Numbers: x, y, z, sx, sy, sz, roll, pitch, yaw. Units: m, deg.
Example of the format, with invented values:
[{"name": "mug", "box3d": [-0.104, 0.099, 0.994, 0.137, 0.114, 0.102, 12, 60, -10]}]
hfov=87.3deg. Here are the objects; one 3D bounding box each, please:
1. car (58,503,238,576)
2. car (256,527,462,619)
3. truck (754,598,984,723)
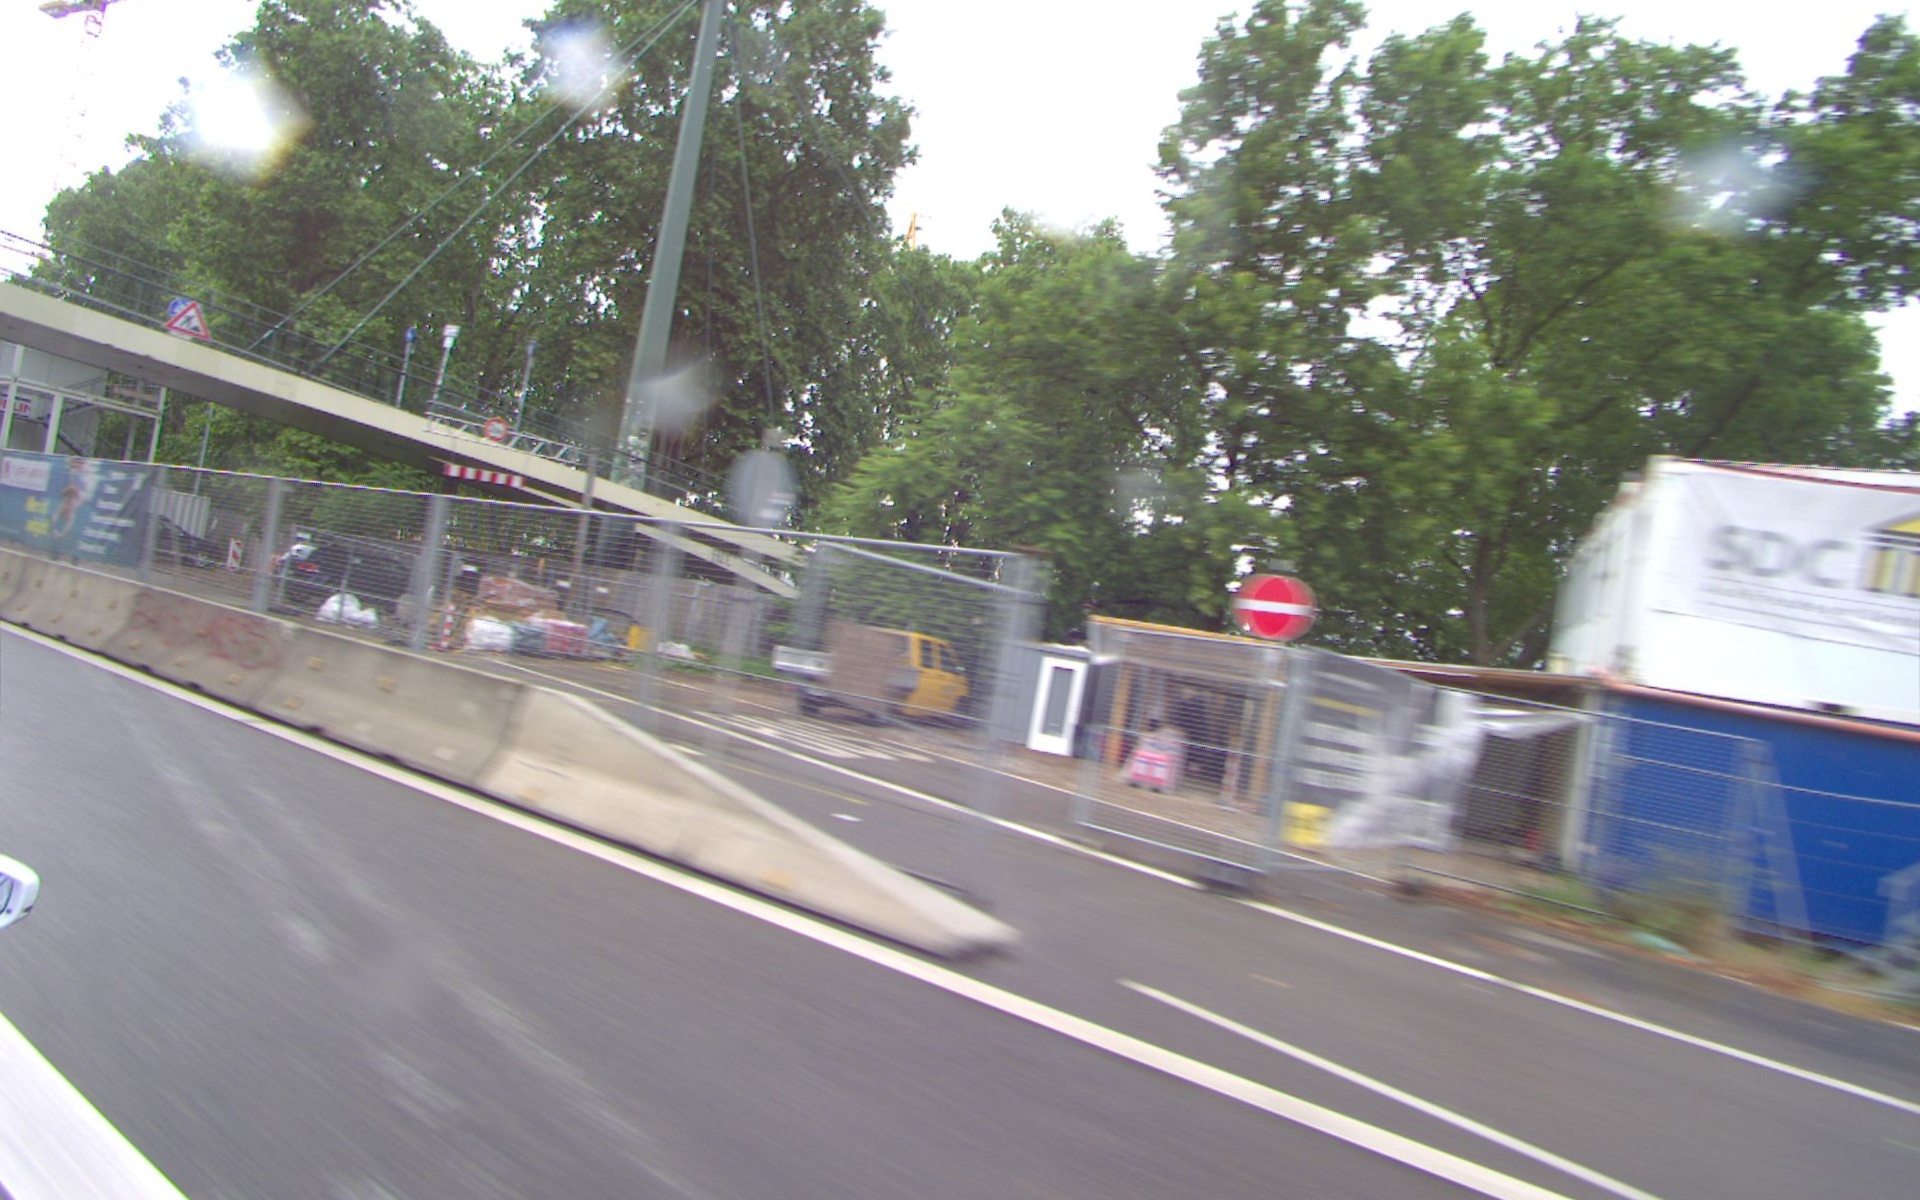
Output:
[{"name": "car", "box3d": [-28.985, -2.107, 36.074, 1.757, 1.646, 4.558, 9, -3, 29]}, {"name": "car", "box3d": [-16.920, -0.688, 28.596, 1.965, 1.746, 4.517, 8, -3, 26]}, {"name": "truck", "box3d": [-1.696, 1.377, 21.103, 2.366, 2.035, 5.175, 6, -4, 25]}]
